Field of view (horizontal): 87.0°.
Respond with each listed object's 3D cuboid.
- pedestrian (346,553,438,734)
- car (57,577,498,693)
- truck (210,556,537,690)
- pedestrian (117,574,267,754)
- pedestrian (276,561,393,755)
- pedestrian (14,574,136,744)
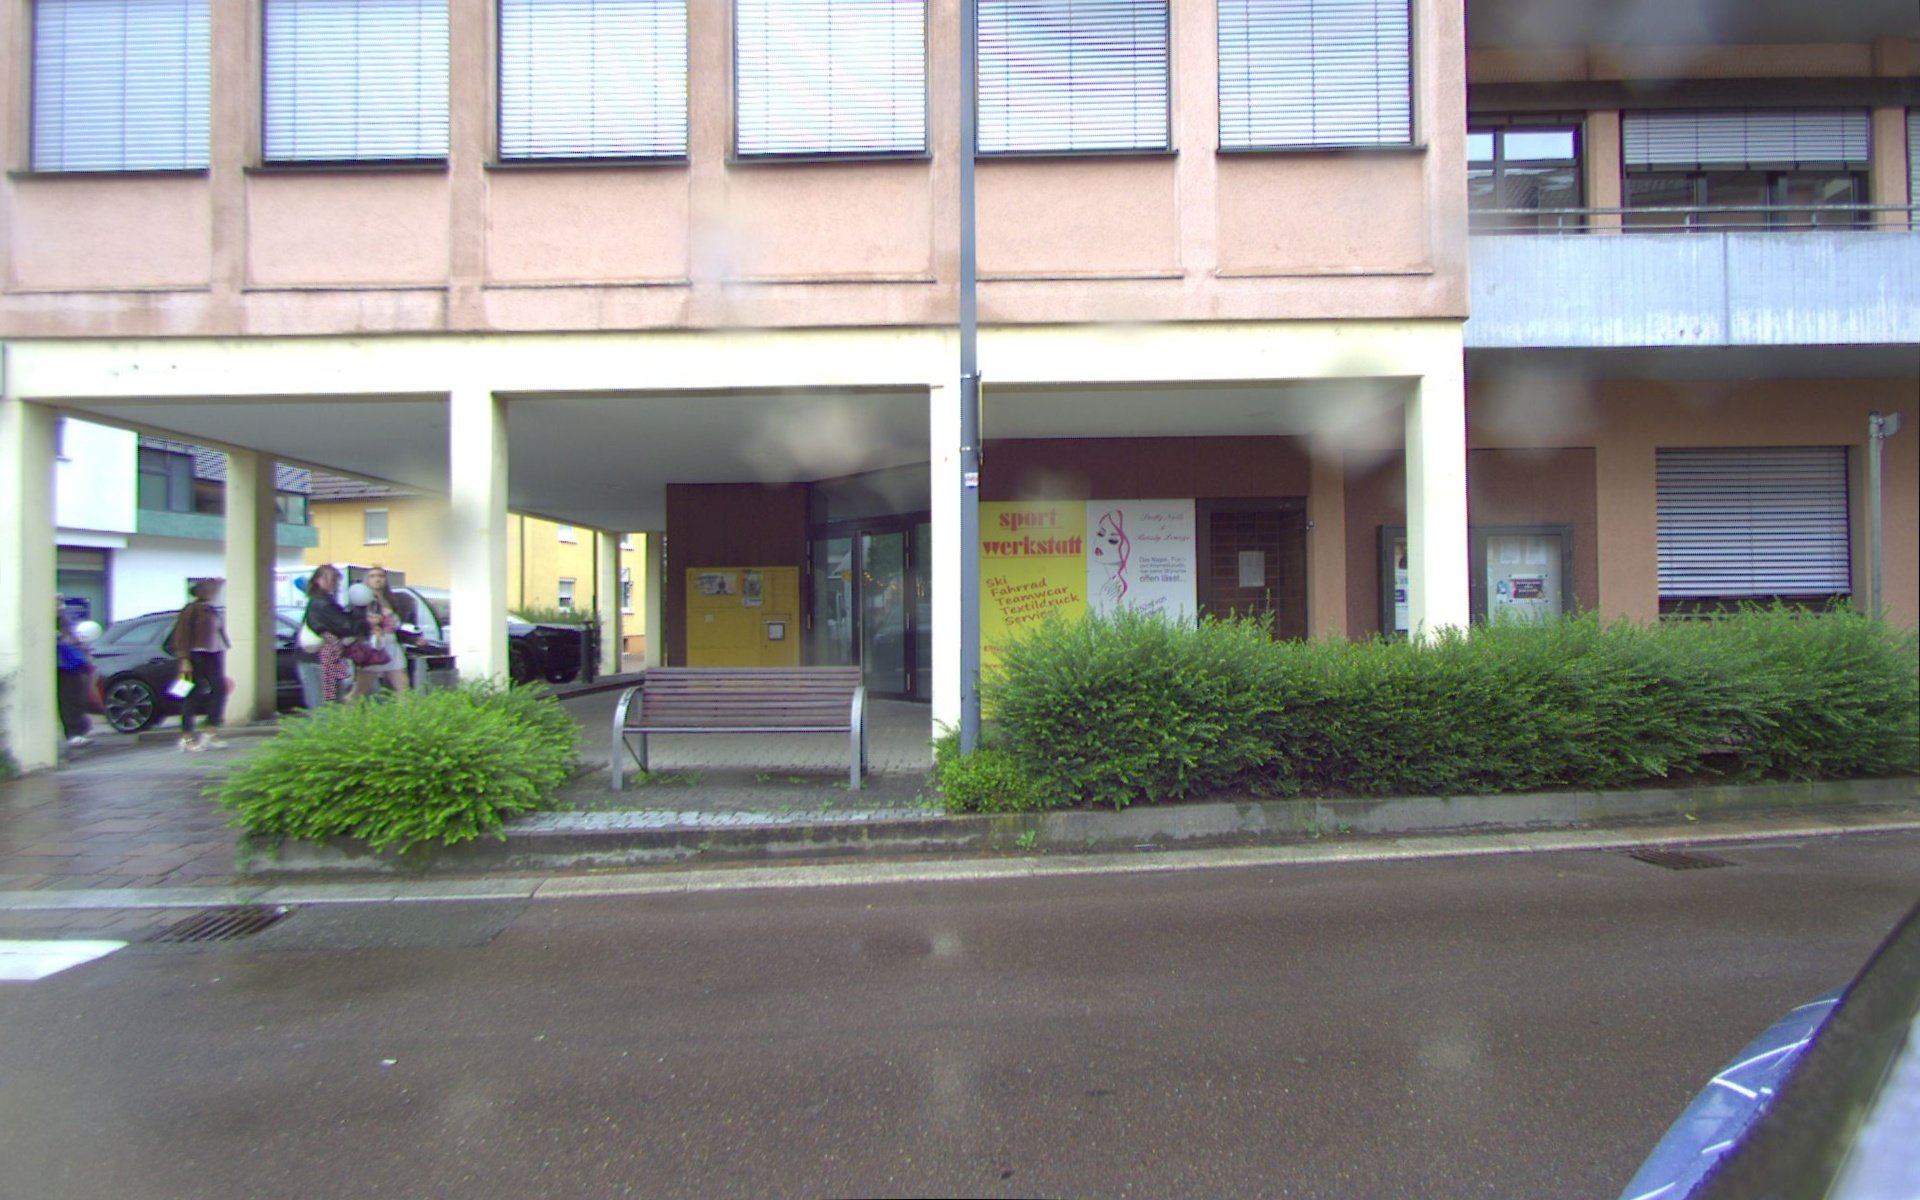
[{"bbox_3d":[-5.675,0.410,10.104,0.719,1.711,0.725,0,-1,-35],"label":"pedestrian"},{"bbox_3d":[-8.349,0.410,12.626,4.389,1.292,1.767,-1,0,3],"label":"car"},{"bbox_3d":[-8.679,0.327,15.191,3.926,1.831,1.767,-1,0,3],"label":"truck"},{"bbox_3d":[-7.234,0.571,9.567,0.811,1.624,0.744,0,2,7],"label":"pedestrian"},{"bbox_3d":[-5.730,0.498,9.277,0.807,1.682,0.697,0,-1,-41],"label":"pedestrian"},{"bbox_3d":[-9.244,0.600,10.592,0.729,1.711,0.635,-1,-1,3],"label":"pedestrian"}]
